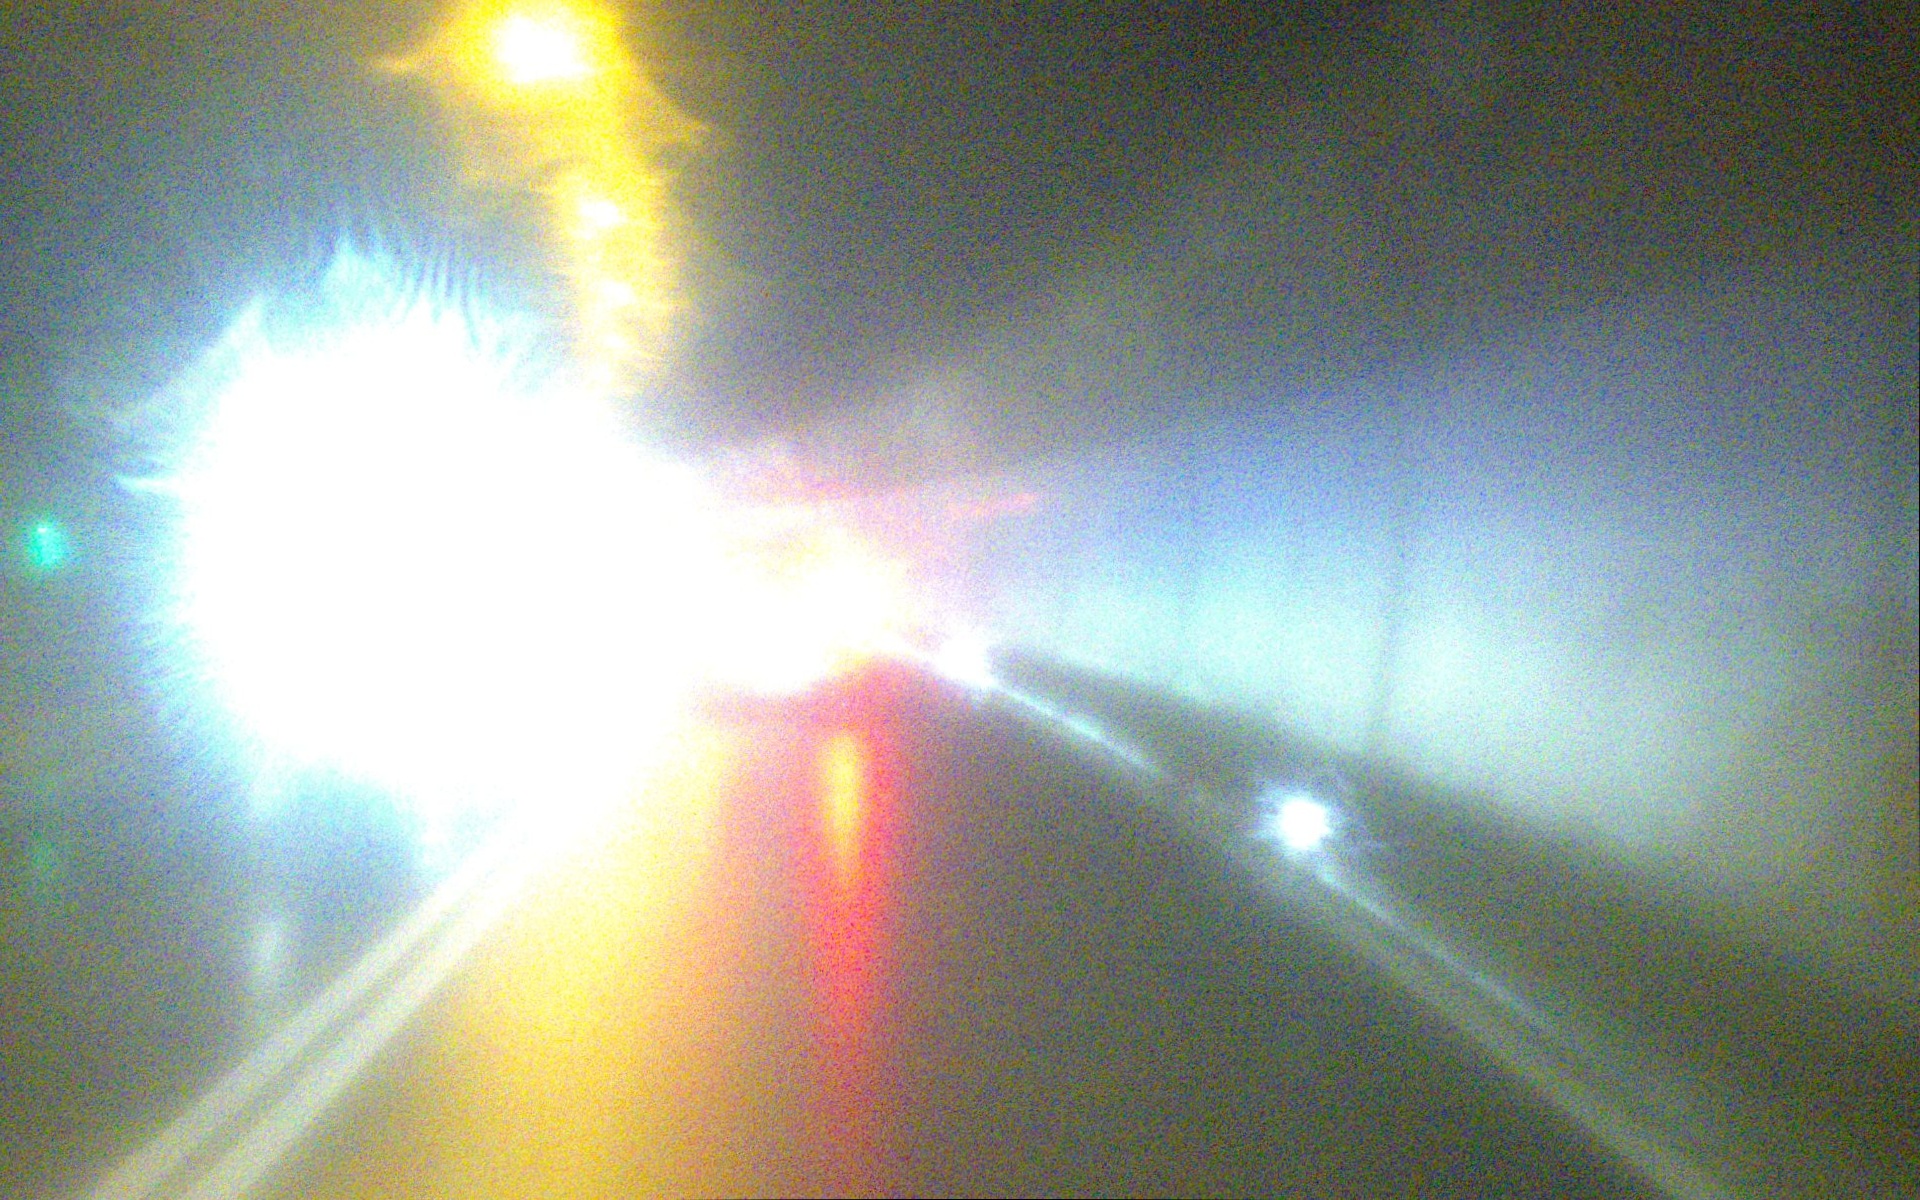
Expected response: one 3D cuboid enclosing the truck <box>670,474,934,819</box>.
[{"bbox_3d":[-1.632,0.363,34.239,2.262,3.000,7.416,2,1,-4],"label":"truck"}]
